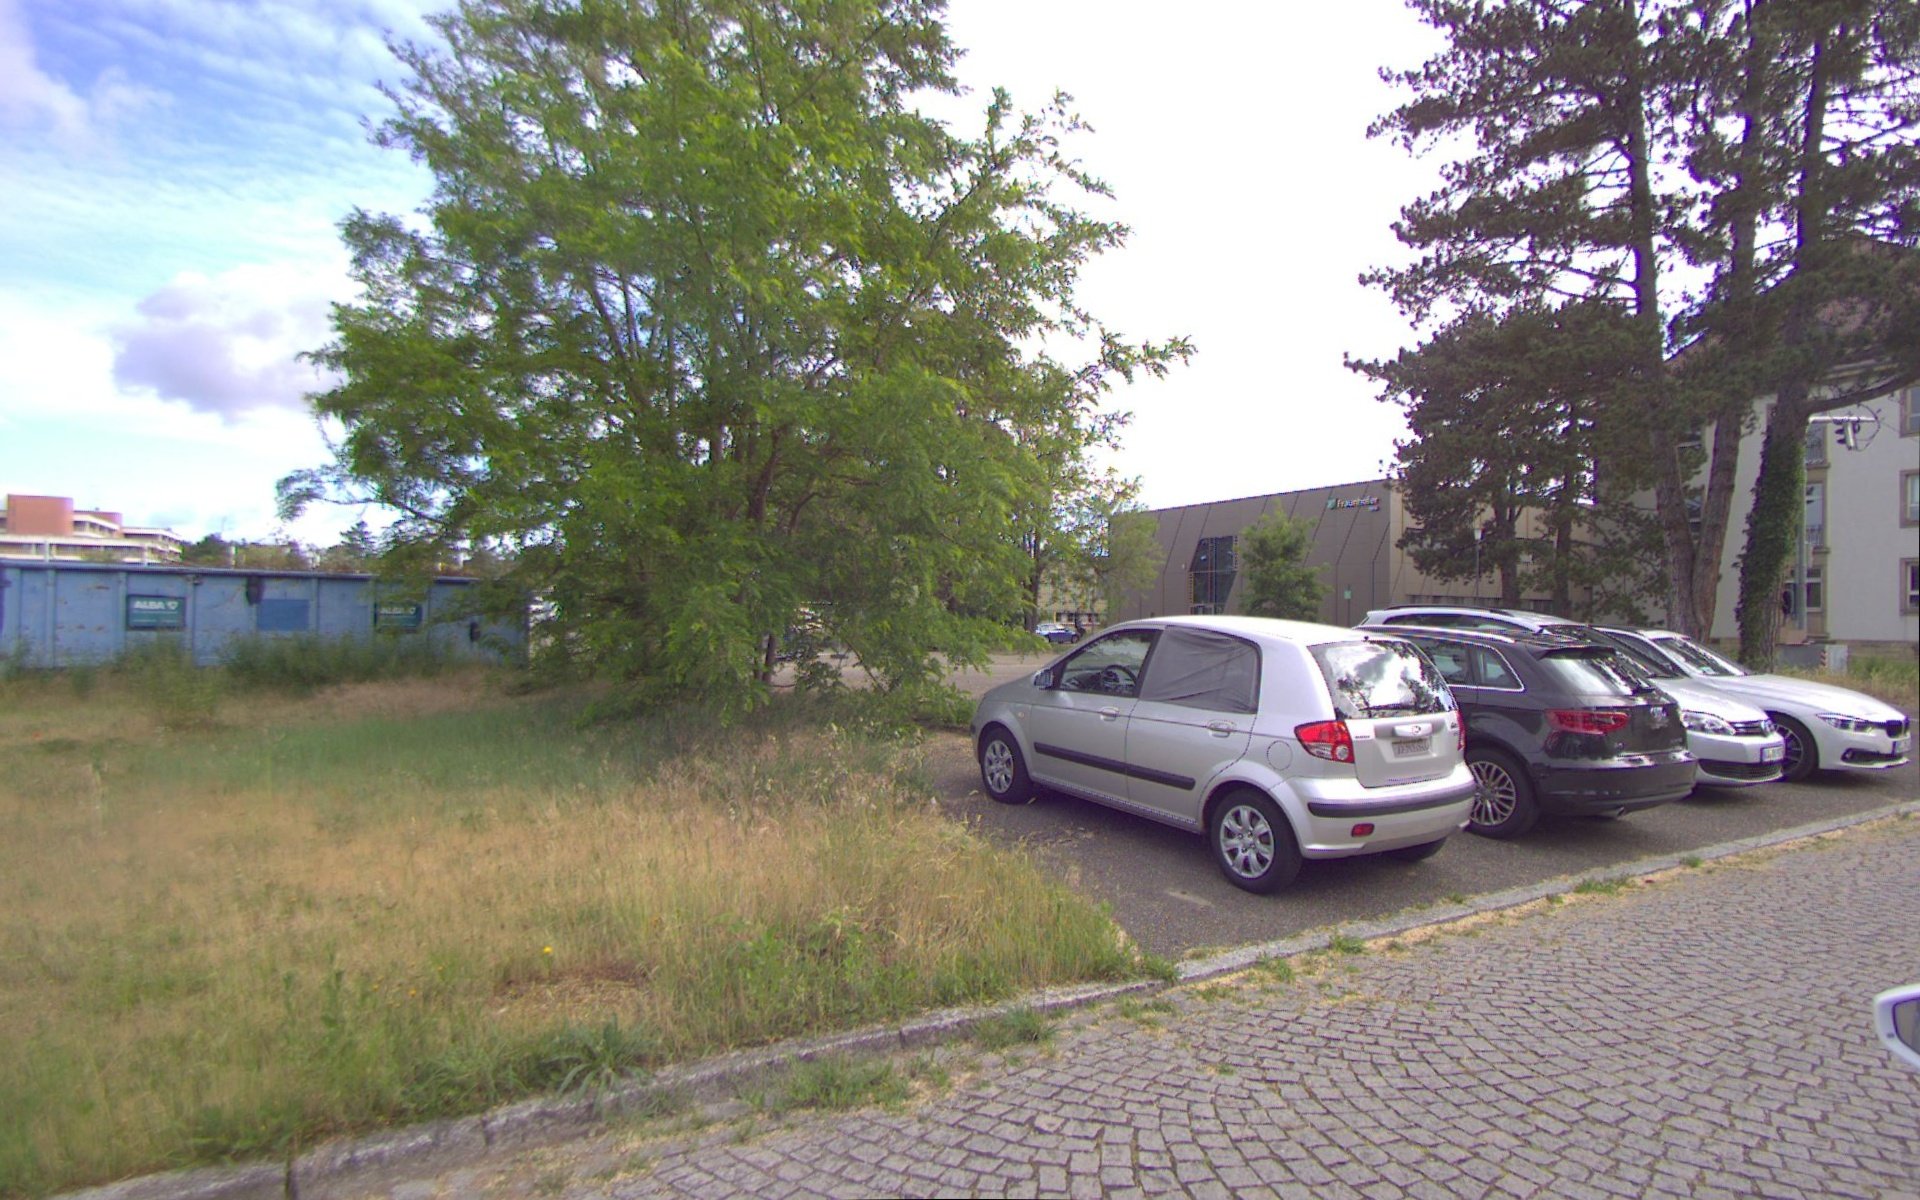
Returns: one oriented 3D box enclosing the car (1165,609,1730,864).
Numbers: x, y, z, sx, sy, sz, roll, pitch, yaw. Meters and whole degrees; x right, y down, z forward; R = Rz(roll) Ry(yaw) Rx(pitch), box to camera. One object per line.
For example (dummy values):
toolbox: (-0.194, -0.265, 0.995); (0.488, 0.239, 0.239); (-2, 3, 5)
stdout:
car: (3.752, 0.890, 8.459); (1.731, 1.447, 3.966); (1, 1, -31)

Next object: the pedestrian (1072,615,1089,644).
pedestrian: (8.824, 2.154, 73.398); (0.886, 2.040, 0.919); (0, -1, 33)

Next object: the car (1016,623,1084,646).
car: (6.360, 2.414, 70.876); (4.405, 1.449, 1.985); (-1, 0, -29)

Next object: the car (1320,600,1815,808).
car: (5.916, 0.861, 10.263); (1.707, 1.568, 3.961); (1, 1, -34)

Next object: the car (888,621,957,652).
car: (-1.864, 1.736, 48.873); (1.678, 1.410, 3.966); (1, -1, -31)

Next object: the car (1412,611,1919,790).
car: (7.898, 0.957, 11.614); (1.783, 1.463, 4.619); (1, 1, -33)

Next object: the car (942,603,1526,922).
car: (1.626, 0.837, 7.053); (1.790, 1.472, 3.654); (1, 1, -34)
